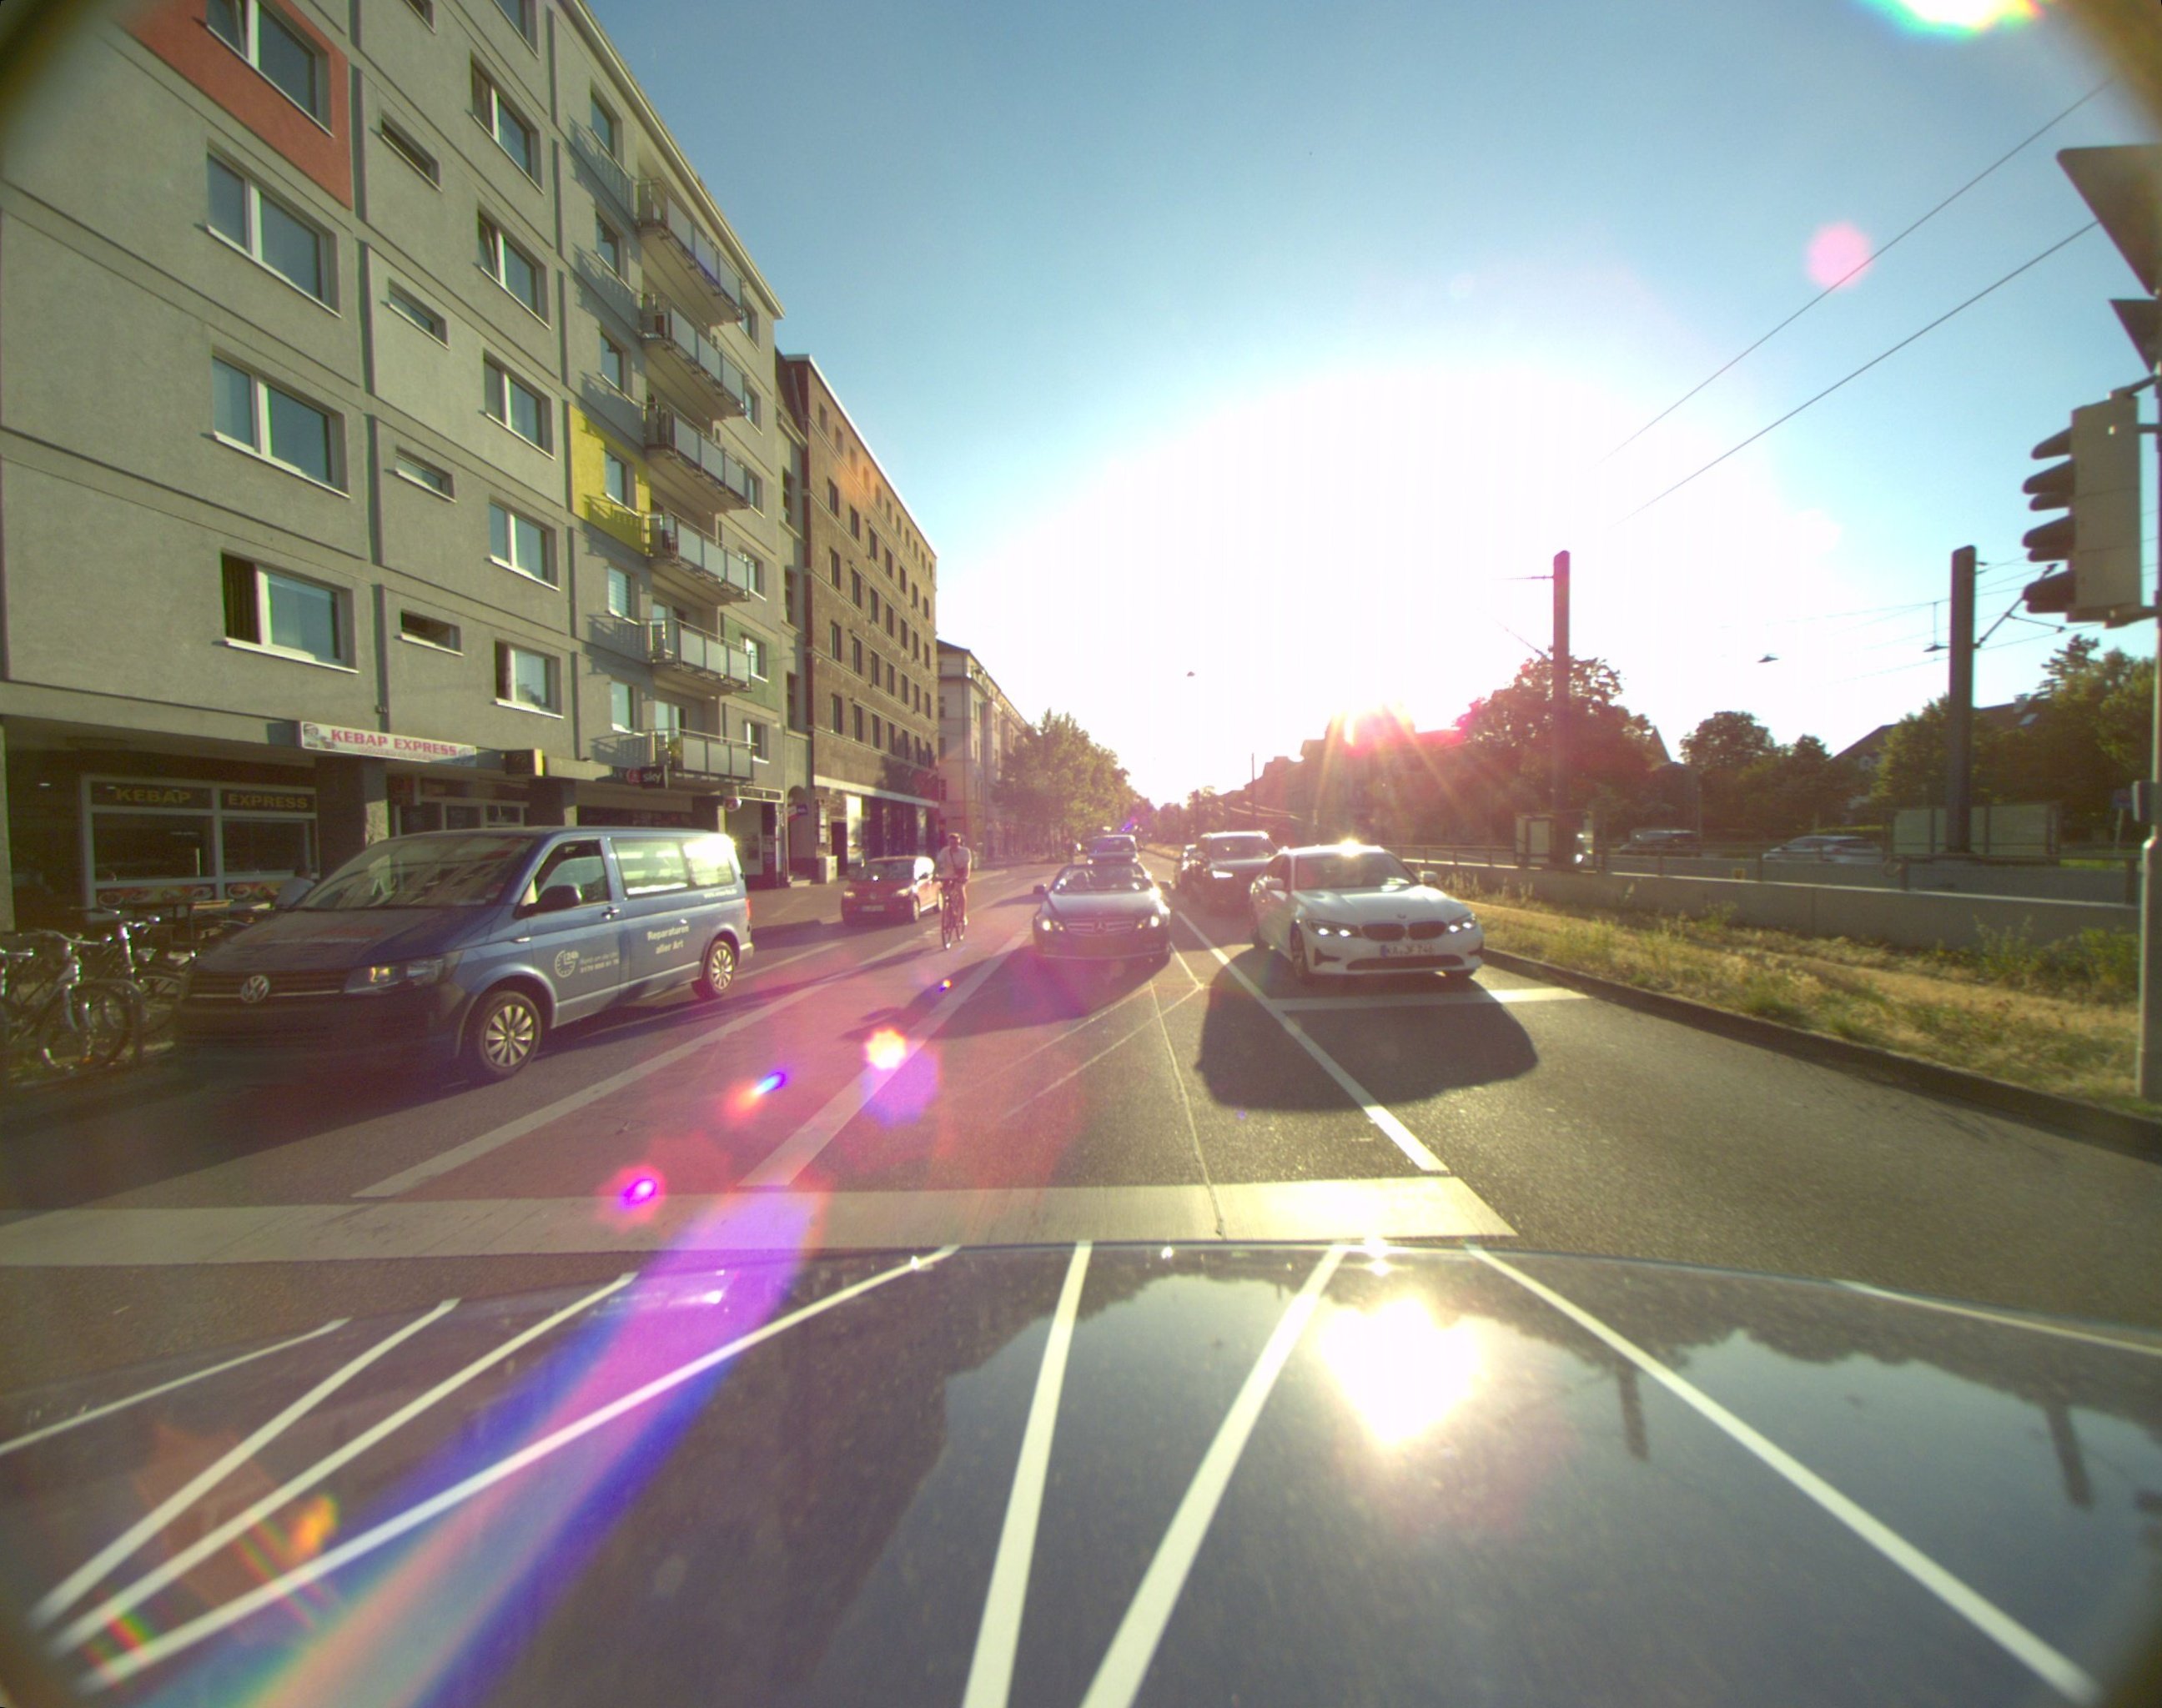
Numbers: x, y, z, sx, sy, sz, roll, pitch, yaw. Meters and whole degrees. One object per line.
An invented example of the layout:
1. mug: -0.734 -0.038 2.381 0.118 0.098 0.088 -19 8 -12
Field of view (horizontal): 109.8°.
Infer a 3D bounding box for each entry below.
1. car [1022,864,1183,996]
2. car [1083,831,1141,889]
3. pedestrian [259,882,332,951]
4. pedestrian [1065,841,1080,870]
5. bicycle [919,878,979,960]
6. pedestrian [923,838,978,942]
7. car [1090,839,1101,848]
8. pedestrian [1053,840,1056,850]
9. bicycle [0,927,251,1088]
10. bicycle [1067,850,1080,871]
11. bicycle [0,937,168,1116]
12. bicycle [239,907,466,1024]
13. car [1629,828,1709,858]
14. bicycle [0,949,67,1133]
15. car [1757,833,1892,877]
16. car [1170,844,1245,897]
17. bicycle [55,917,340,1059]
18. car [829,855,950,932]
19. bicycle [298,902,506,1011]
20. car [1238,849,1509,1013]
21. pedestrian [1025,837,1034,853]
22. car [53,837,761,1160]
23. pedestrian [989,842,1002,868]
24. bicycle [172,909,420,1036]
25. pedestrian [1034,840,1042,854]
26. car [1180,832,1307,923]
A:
1. car: 0.332 0.884 10.604 1.775 1.300 4.240 -1 1 2
2. car: 1.171 0.159 28.479 1.919 1.979 4.947 -1 1 2
3. pedestrian: -13.316 1.039 12.902 0.647 1.093 0.544 -2 2 -18
4. pedestrian: -0.472 0.065 43.445 0.678 1.639 0.902 -2 2 5
5. bicycle: -2.141 1.022 12.572 0.530 1.152 1.849 -2 1 3
6. pedestrian: -2.134 0.567 12.502 0.640 1.639 0.843 -2 2 3
7. car: 2.717 -1.969 142.511 1.774 1.474 4.309 -1 1 3
8. pedestrian: -3.816 -1.260 107.509 0.310 1.431 0.357 -1 2 11
9. bicycle: -7.856 1.191 6.041 1.872 1.119 0.568 2 2 0
10. bicycle: -0.409 0.359 43.522 0.530 1.152 1.849 -2 1 5
11. bicycle: -7.832 1.200 5.446 1.872 1.119 0.568 2 2 0
12. bicycle: -7.773 1.179 8.151 1.872 1.119 0.568 2 2 0
13. car: 34.073 -0.652 44.188 1.714 1.685 4.090 -1 1 4
14. bicycle: -7.814 1.196 4.842 1.872 1.119 0.607 2 2 0
15. car: 28.200 -0.002 28.992 1.714 1.532 3.673 -1 1 4
16. car: 3.871 0.451 23.785 1.815 1.393 3.919 -3 1 3
17. bicycle: -7.859 1.174 6.805 1.872 1.119 0.568 2 2 0
18. car: -4.385 0.847 17.913 1.687 1.472 3.539 -3 1 4
19. bicycle: -7.762 1.162 8.727 1.872 1.119 0.568 2 2 0
20. car: 3.243 0.729 9.513 1.842 1.393 4.584 -3 1 4
21. pedestrian: -5.522 -1.002 81.411 0.728 1.666 0.924 -1 2 2
22. car: -5.059 0.827 6.957 1.941 1.922 4.832 -1 1 3
23. pedestrian: -5.330 0.064 47.259 0.603 1.587 0.884 -1 2 3
24. bicycle: -7.770 1.158 7.568 1.872 1.119 0.568 2 2 0
25. pedestrian: -4.618 -0.745 81.103 0.728 1.431 0.924 -1 2 2
26. car: 3.571 0.430 17.604 1.955 1.702 4.850 -3 1 2
